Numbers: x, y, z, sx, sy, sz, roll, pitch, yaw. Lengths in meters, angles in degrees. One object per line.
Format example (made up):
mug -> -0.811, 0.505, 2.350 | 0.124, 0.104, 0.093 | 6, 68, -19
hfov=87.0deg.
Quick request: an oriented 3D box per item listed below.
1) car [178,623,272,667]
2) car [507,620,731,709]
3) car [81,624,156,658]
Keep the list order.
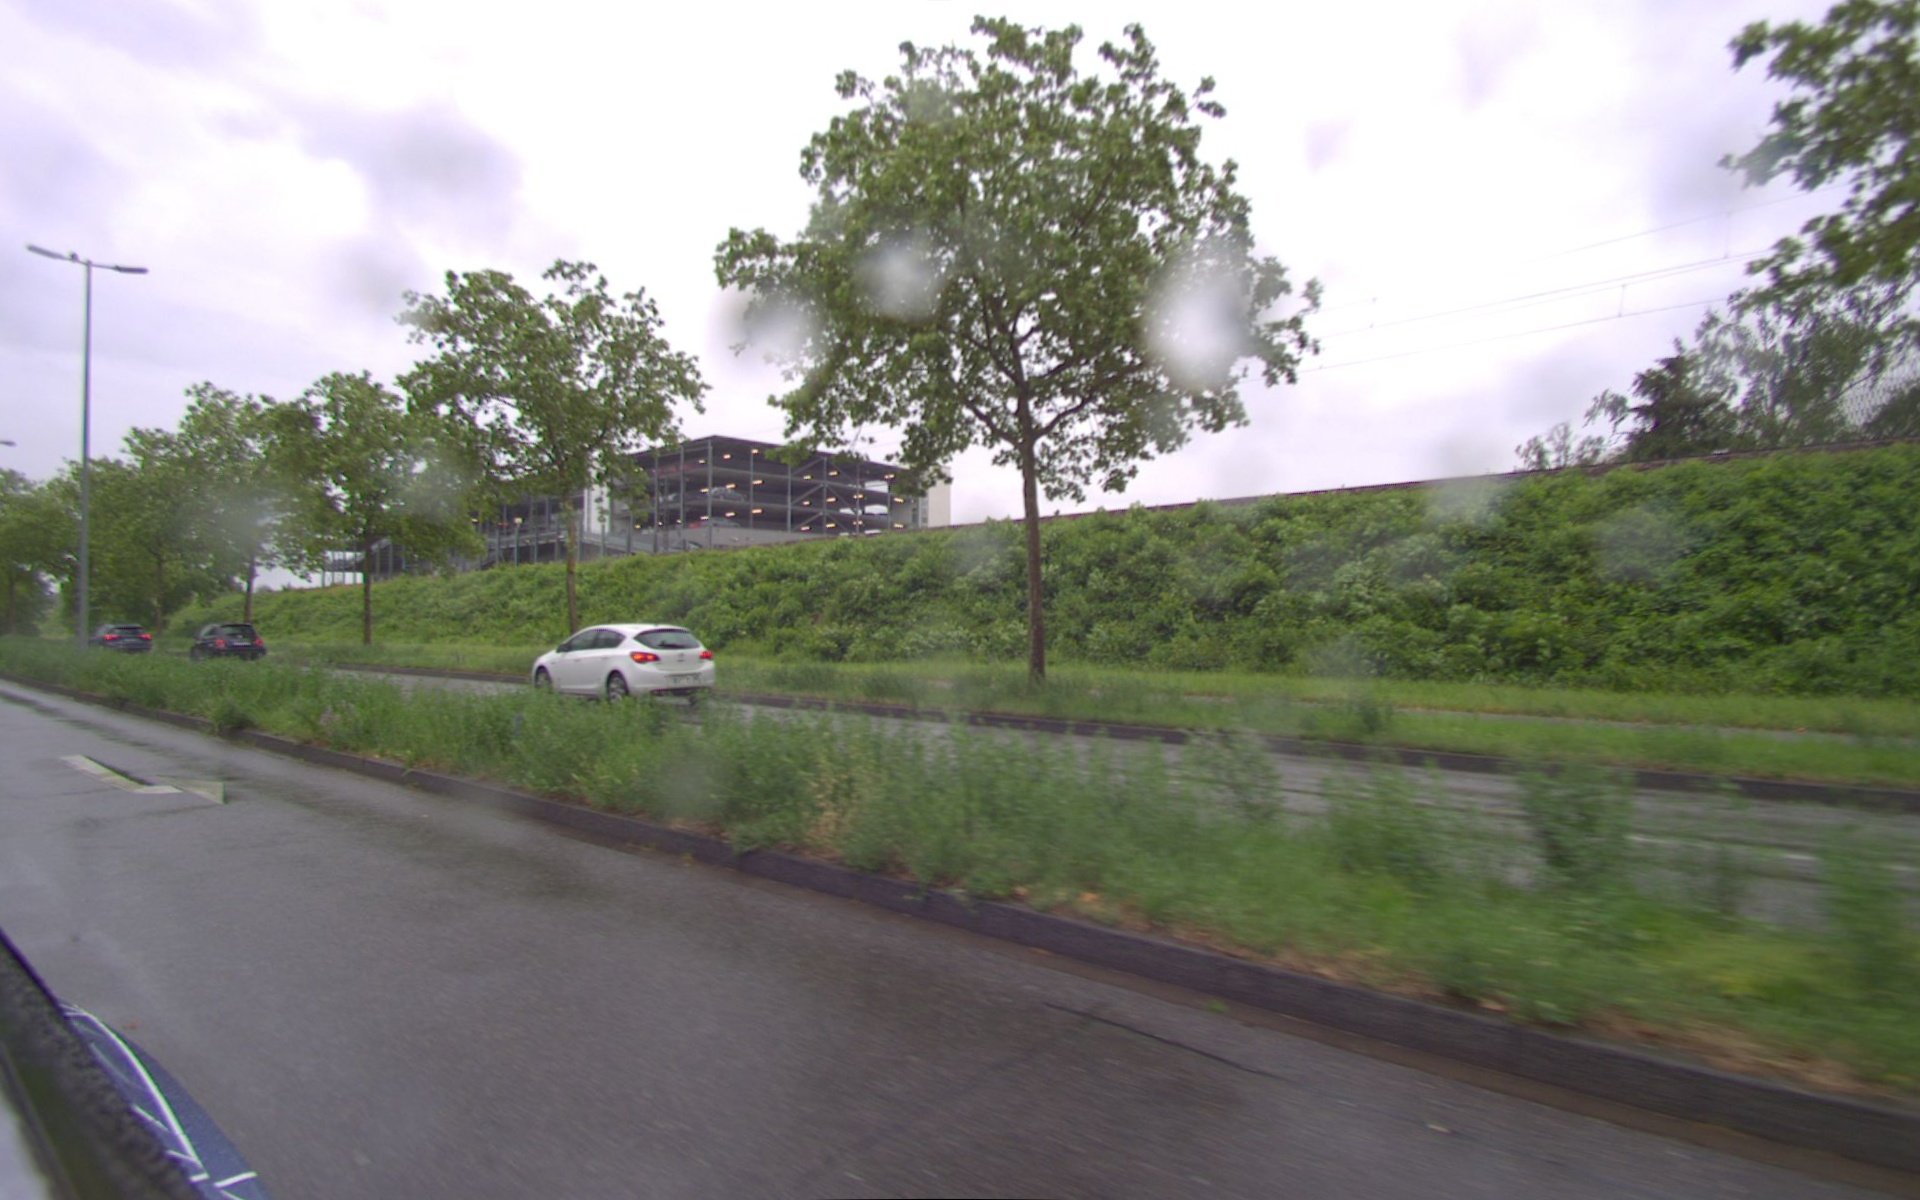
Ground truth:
car -> -26.032, 1.556, 35.814 | 3.705, 1.456, 1.911 | -1, -1, 41
car -> -6.479, 1.119, 18.977 | 4.654, 1.456, 1.911 | -1, -1, 41
car -> -38.407, 1.853, 46.152 | 4.494, 1.456, 1.911 | -1, -1, 41
